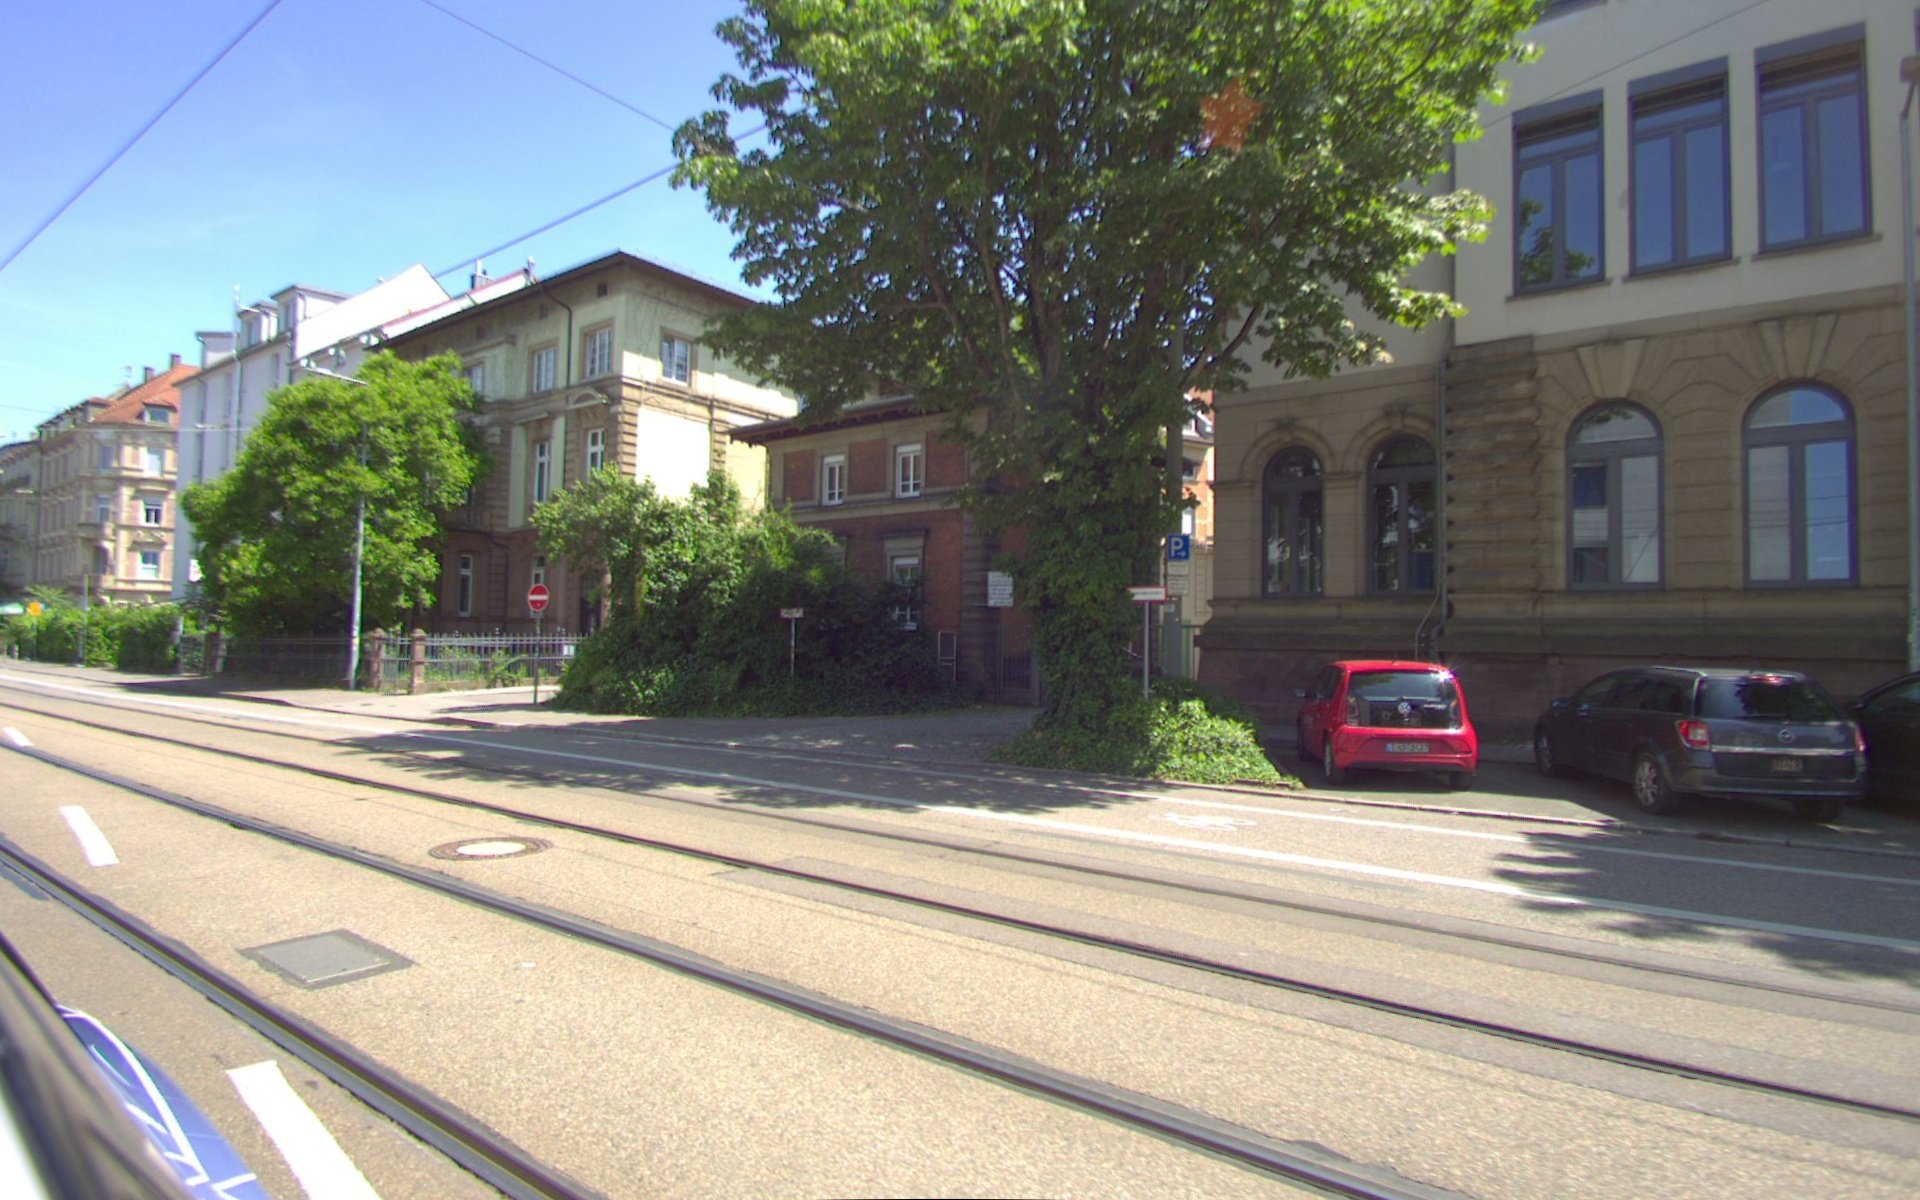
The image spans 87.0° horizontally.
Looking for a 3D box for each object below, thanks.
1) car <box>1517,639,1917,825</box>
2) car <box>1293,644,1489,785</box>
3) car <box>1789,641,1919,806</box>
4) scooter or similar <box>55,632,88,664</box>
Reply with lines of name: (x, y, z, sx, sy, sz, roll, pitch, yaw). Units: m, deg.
car: (7.968, 1.262, 11.259, 1.650, 1.596, 4.311, 0, -2, 8)
car: (5.372, 1.348, 13.031, 1.652, 1.527, 3.340, 0, -2, 11)
car: (10.162, 1.198, 9.600, 1.773, 1.589, 3.808, 1, -3, 8)
scooter or similar: (-41.327, 2.221, 47.059, 0.596, 1.462, 0.999, 0, -3, 37)
